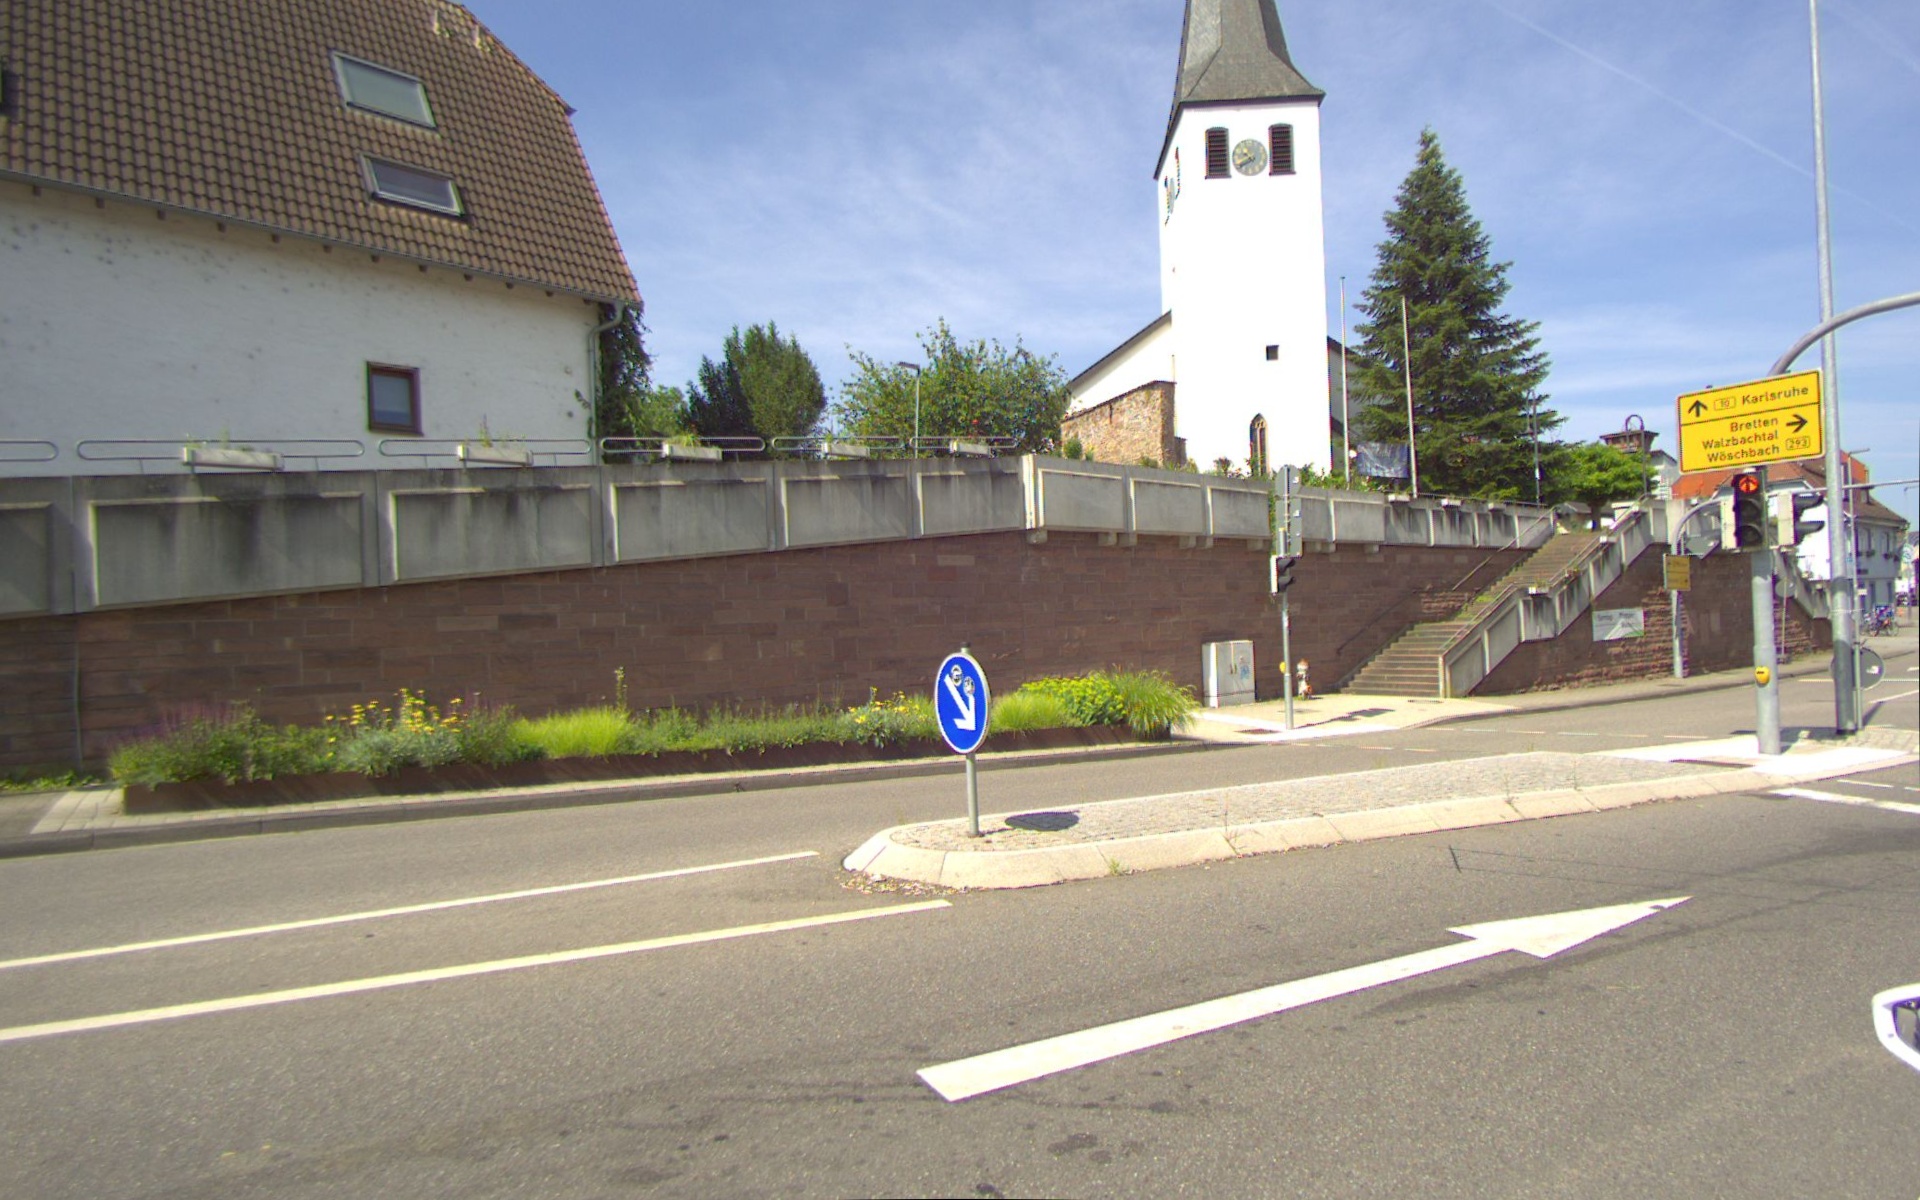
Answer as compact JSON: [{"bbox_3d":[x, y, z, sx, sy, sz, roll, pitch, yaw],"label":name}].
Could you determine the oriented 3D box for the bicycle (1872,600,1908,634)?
[{"bbox_3d":[45.530,0.797,49.176,2.531,1.629,0.555,0,1,-29],"label":"bicycle"}]

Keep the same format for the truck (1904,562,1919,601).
[{"bbox_3d":[88.391,-1.712,90.171,3.114,3.506,10.687,1,0,31],"label":"truck"}]

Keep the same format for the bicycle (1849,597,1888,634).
[{"bbox_3d":[45.472,0.748,50.277,2.637,1.803,0.638,0,1,-29],"label":"bicycle"}]
